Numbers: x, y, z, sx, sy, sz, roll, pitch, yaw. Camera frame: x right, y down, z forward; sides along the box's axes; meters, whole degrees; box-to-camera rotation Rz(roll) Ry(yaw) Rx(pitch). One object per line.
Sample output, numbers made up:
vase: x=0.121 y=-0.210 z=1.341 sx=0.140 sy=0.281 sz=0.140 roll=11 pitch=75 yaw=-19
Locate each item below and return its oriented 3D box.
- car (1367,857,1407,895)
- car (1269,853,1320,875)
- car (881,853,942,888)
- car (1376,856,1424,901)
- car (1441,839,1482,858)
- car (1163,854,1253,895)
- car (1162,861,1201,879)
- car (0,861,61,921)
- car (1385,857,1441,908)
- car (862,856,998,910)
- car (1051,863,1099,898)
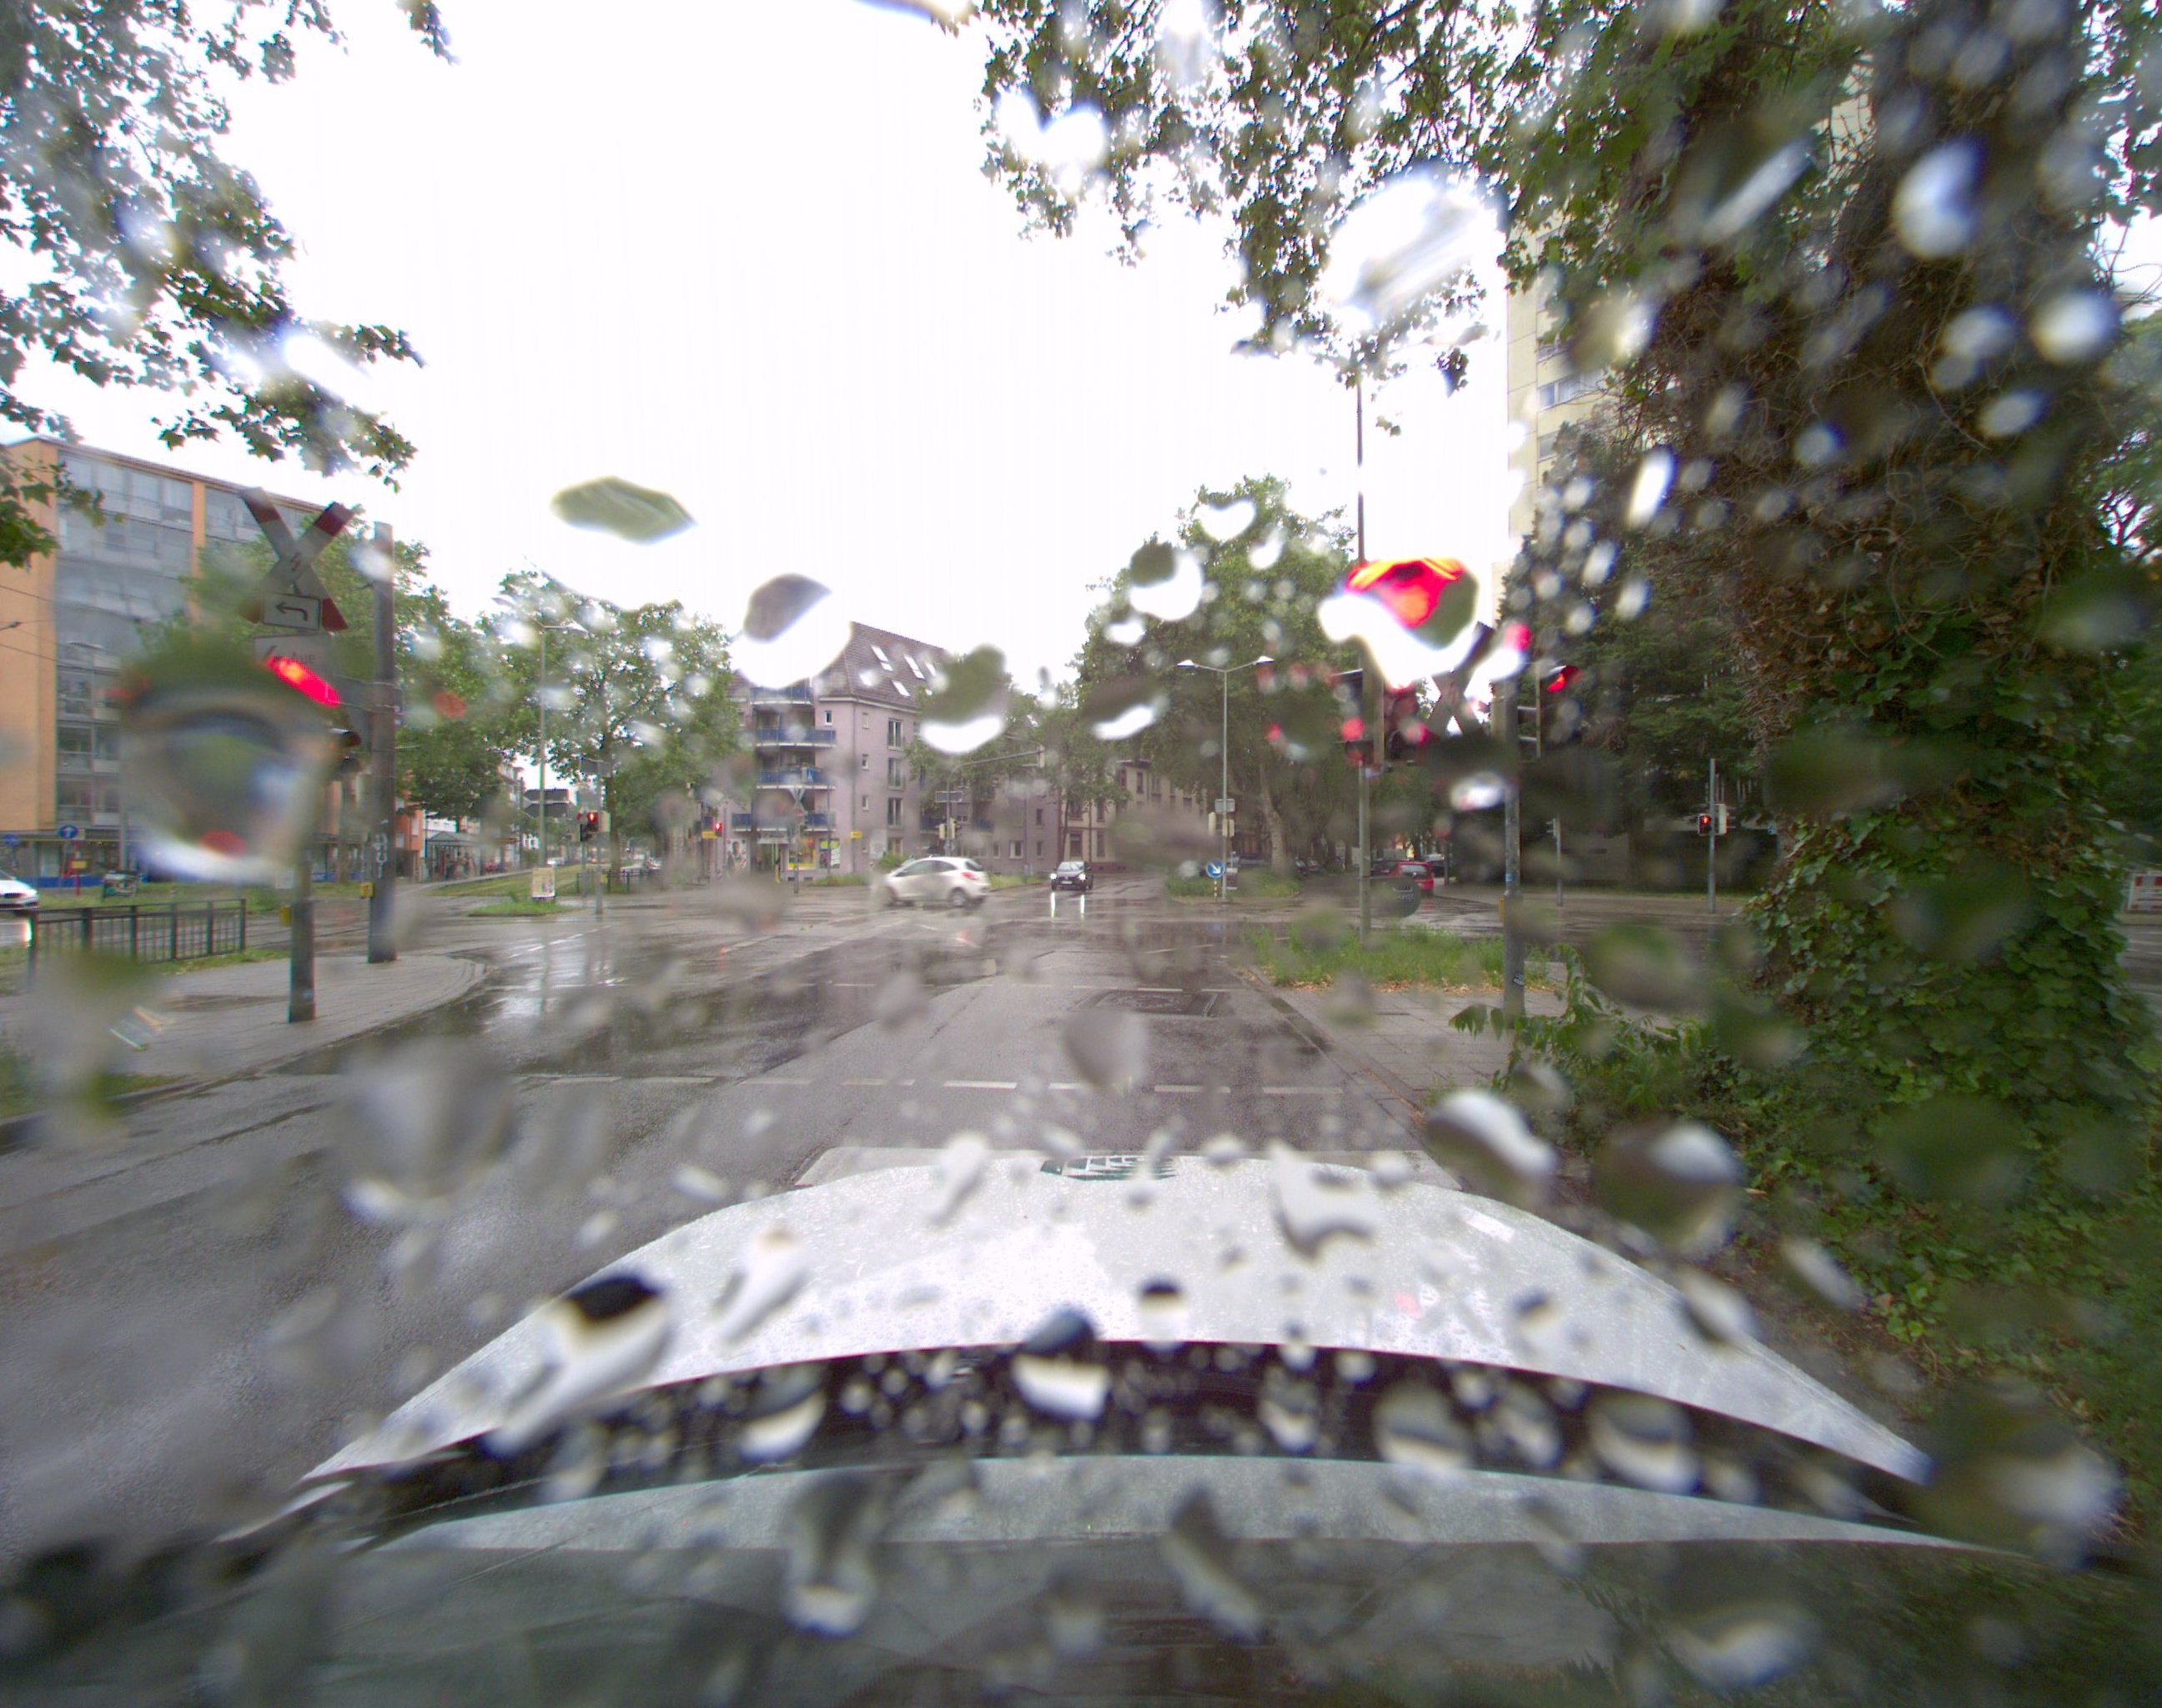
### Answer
car: x=17.813 y=1.243 z=47.566 sx=1.977 sy=2.013 sz=4.019 roll=-2 pitch=0 yaw=18
car: x=17.115 y=0.795 z=65.197 sx=3.571 sy=1.618 sz=1.692 roll=-2 pitch=0 yaw=30
car: x=-8.052 y=0.753 z=38.972 sx=1.715 sy=1.552 sz=3.567 roll=-2 pitch=0 yaw=8
car: x=15.851 y=1.172 z=40.637 sx=1.977 sy=2.013 sz=4.019 roll=-2 pitch=0 yaw=18
car: x=42.564 y=-0.605 z=91.131 sx=3.953 sy=2.013 sz=1.716 roll=-2 pitch=0 yaw=21
car: x=5.169 y=0.812 z=33.014 sx=3.457 sy=1.523 sz=1.524 roll=-2 pitch=0 yaw=10
car: x=9.598 y=1.498 z=77.707 sx=1.660 sy=1.552 sz=4.225 roll=-2 pitch=0 yaw=38
car: x=-32.151 y=1.112 z=23.422 sx=3.978 sy=1.651 sz=1.980 roll=-2 pitch=0 yaw=13
car: x=14.684 y=1.214 z=36.219 sx=1.977 sy=2.013 sz=4.019 roll=-2 pitch=0 yaw=18
car: x=-4.546 y=0.867 z=24.769 sx=3.615 sy=1.486 sz=1.731 roll=-2 pitch=0 yaw=13
car: x=-0.251 y=1.300 z=40.798 sx=1.591 sy=1.552 sz=3.572 roll=-2 pitch=0 yaw=13
